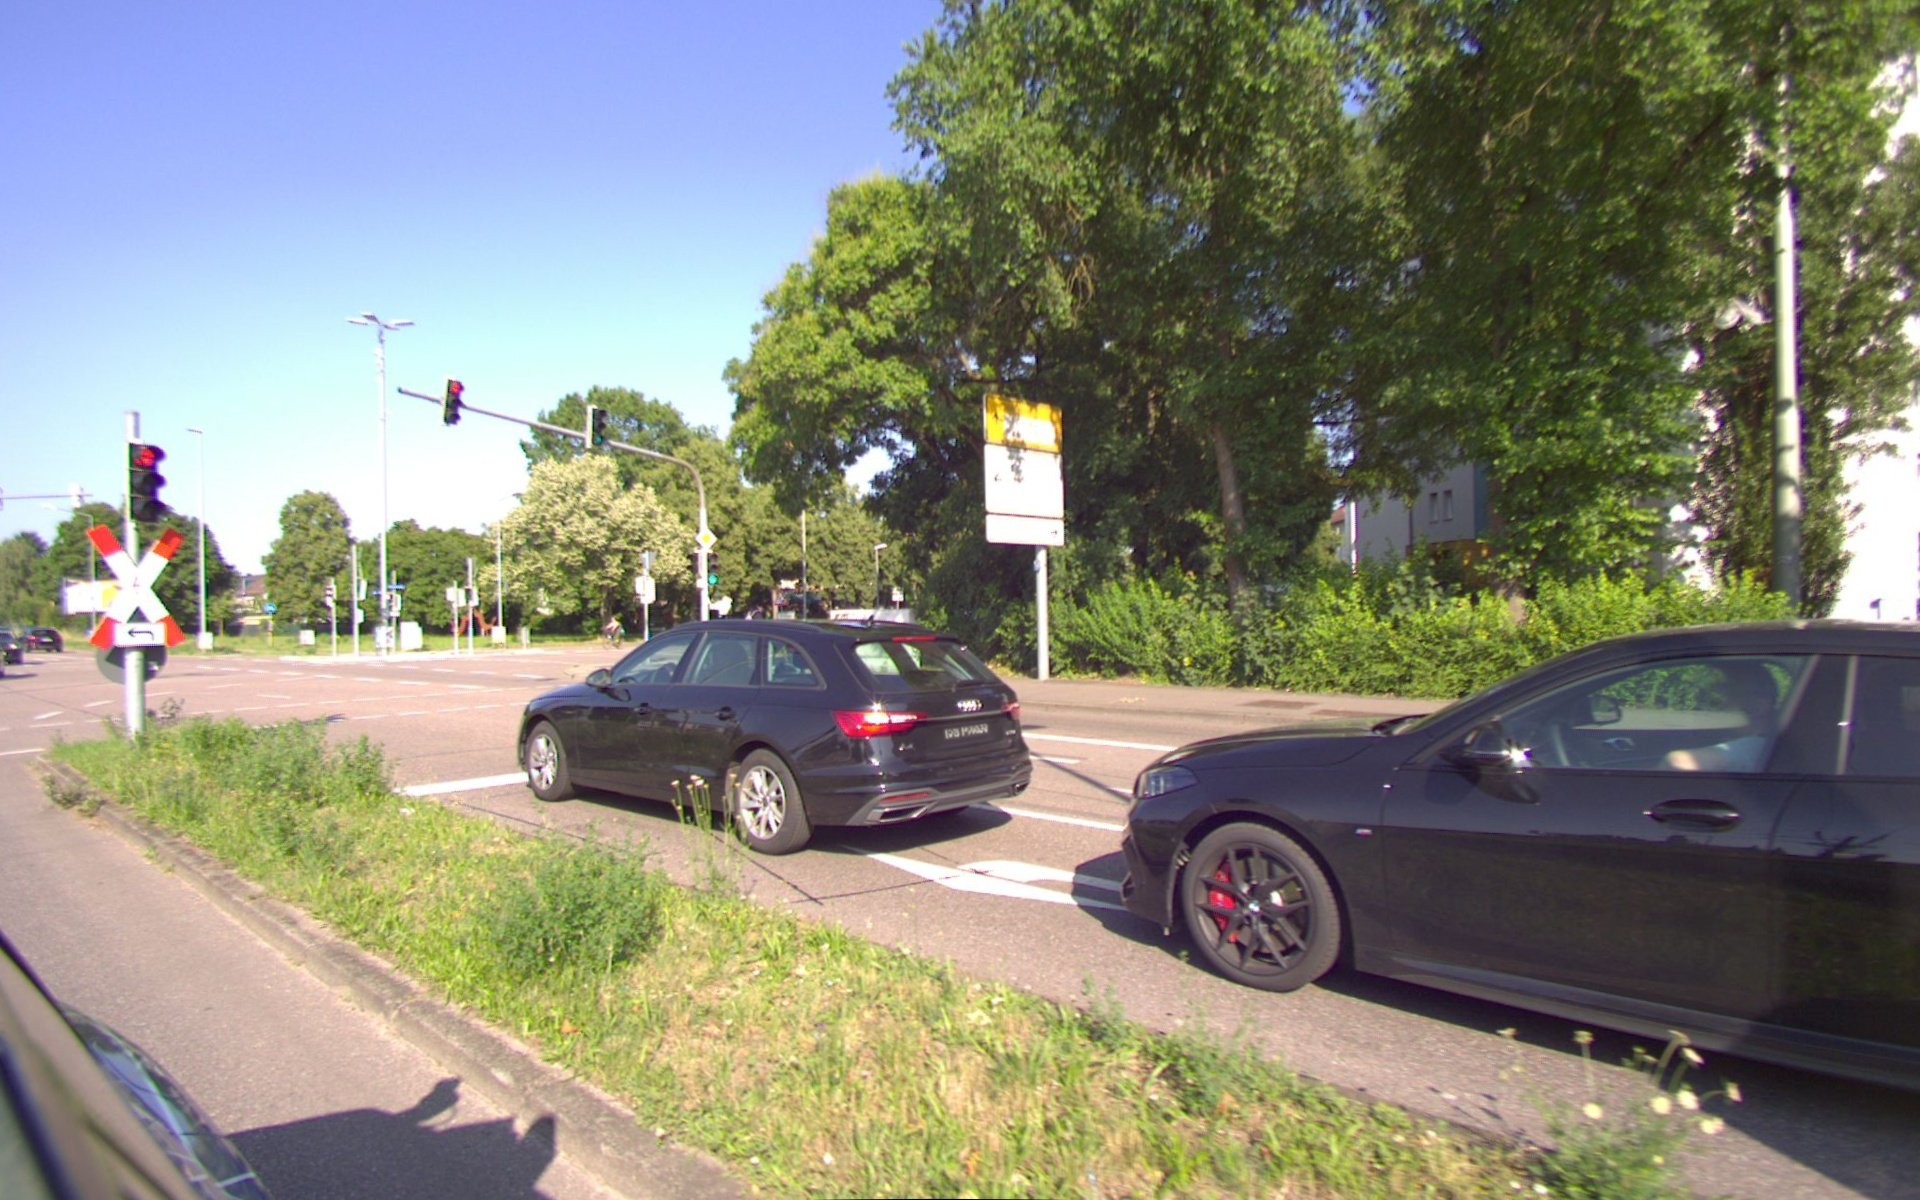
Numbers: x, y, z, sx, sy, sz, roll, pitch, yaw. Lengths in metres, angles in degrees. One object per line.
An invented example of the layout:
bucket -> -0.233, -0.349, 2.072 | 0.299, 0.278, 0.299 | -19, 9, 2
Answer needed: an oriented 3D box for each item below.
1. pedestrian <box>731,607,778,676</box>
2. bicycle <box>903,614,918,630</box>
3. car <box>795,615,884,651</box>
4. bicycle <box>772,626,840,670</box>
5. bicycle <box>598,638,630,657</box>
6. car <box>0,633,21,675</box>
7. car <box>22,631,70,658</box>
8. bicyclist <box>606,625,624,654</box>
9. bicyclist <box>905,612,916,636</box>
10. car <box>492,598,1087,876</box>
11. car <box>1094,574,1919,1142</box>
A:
pedestrian -> -5.432, 1.093, 26.799 | 0.806, 1.765, 0.932 | -1, -1, -44
bicycle -> -3.299, 1.442, 67.357 | 0.611, 1.048, 2.077 | -1, -1, -12
car -> -5.959, 1.639, 49.999 | 3.975, 1.450, 1.771 | -5, -2, 23
bicycle -> -4.214, 1.303, 27.878 | 0.632, 1.127, 1.889 | -2, -1, 40
bicycle -> -18.539, 2.554, 54.274 | 0.649, 0.910, 1.797 | -2, -1, 20
car -> -40.688, 2.275, 42.085 | 4.607, 1.663, 1.798 | -2, 0, 40
car -> -60.698, 2.917, 67.186 | 4.383, 1.672, 1.968 | -2, -1, 42
bicyclist -> -18.510, 2.128, 54.252 | 0.614, 1.535, 0.623 | -3, -1, 20
bicyclist -> -3.267, 1.603, 67.244 | 0.599, 1.572, 0.604 | -1, -1, -11
car -> -1.531, 0.786, 7.529 | 4.729, 1.442, 1.810 | -2, -2, 41
car -> 2.796, 0.678, 3.490 | 4.380, 1.446, 1.809 | -2, -2, 42
